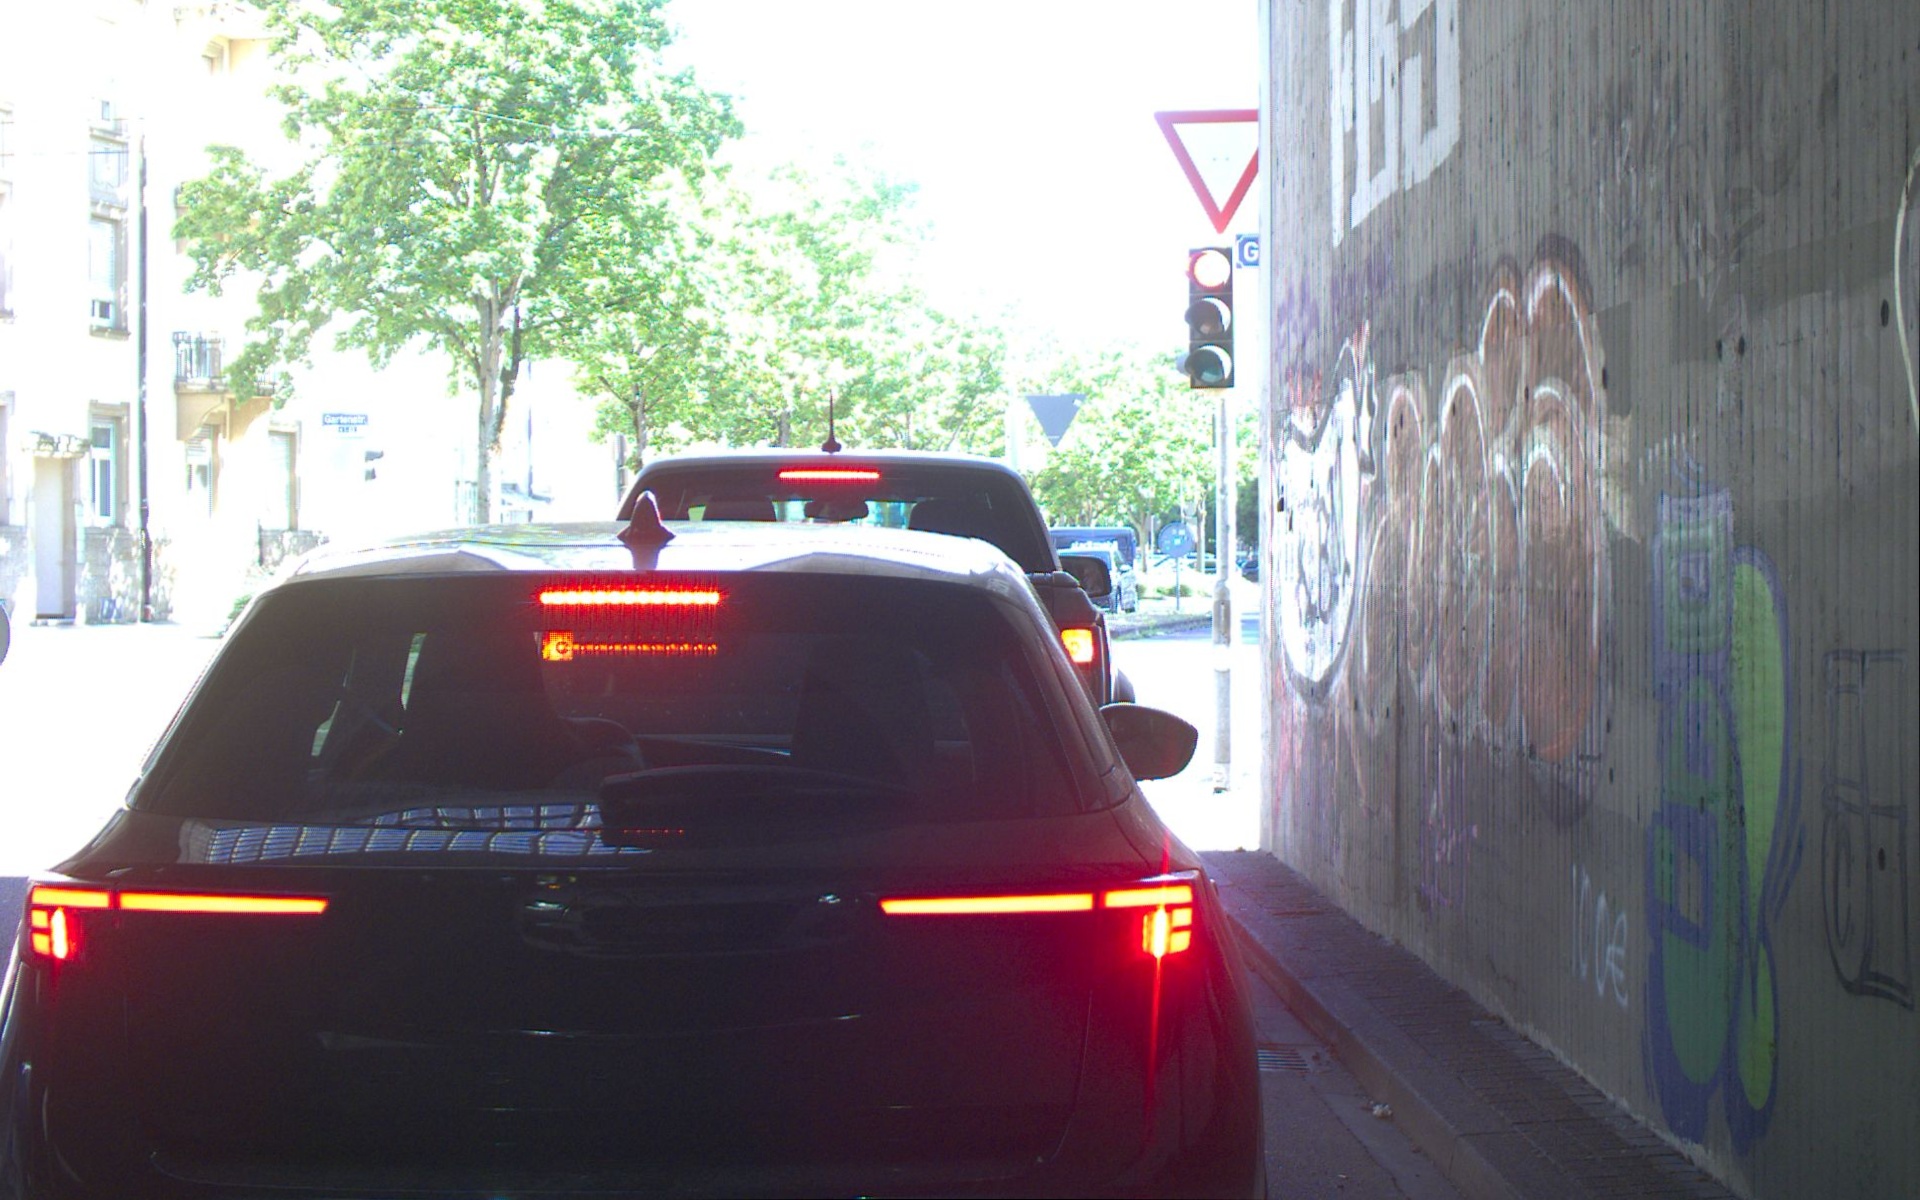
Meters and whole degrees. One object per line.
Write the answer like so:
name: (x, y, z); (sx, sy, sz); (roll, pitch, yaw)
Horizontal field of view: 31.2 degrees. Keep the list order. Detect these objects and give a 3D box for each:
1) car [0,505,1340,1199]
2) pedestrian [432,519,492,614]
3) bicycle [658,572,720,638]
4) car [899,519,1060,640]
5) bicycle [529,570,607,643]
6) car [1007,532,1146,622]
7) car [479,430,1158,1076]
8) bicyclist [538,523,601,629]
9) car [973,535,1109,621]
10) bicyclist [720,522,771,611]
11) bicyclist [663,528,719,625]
car: (-0.509, 0.622, 6.085); (1.882, 1.532, 3.964); (0, 1, -1)
pedestrian: (-10.576, -0.722, 73.095); (0.992, 2.007, 1.088); (0, 1, 8)
bicycle: (-4.461, 0.069, 56.652); (0.626, 1.064, 1.688); (1, 0, 9)
car: (0.287, -0.231, 44.188); (1.968, 1.492, 3.896); (0, -1, 1)
bicycle: (-5.868, 0.097, 51.531); (0.732, 1.064, 1.688); (1, 1, 9)
car: (2.383, -0.430, 69.020); (2.221, 1.713, 4.458); (0, -1, 10)
car: (-0.429, 0.406, 11.906); (1.945, 1.853, 3.964); (0, 1, -1)
bicyclist: (-5.849, -0.359, 51.556); (0.729, 1.576, 0.814); (1, 0, 9)
car: (1.497, -0.377, 62.210); (1.969, 1.492, 3.895); (0, -1, 9)
bicyclist: (-3.839, -0.595, 61.625); (0.729, 1.576, 0.814); (1, 0, 9)
bicyclist: (-4.434, -0.386, 56.634); (0.729, 1.576, 0.814); (1, 0, 9)
